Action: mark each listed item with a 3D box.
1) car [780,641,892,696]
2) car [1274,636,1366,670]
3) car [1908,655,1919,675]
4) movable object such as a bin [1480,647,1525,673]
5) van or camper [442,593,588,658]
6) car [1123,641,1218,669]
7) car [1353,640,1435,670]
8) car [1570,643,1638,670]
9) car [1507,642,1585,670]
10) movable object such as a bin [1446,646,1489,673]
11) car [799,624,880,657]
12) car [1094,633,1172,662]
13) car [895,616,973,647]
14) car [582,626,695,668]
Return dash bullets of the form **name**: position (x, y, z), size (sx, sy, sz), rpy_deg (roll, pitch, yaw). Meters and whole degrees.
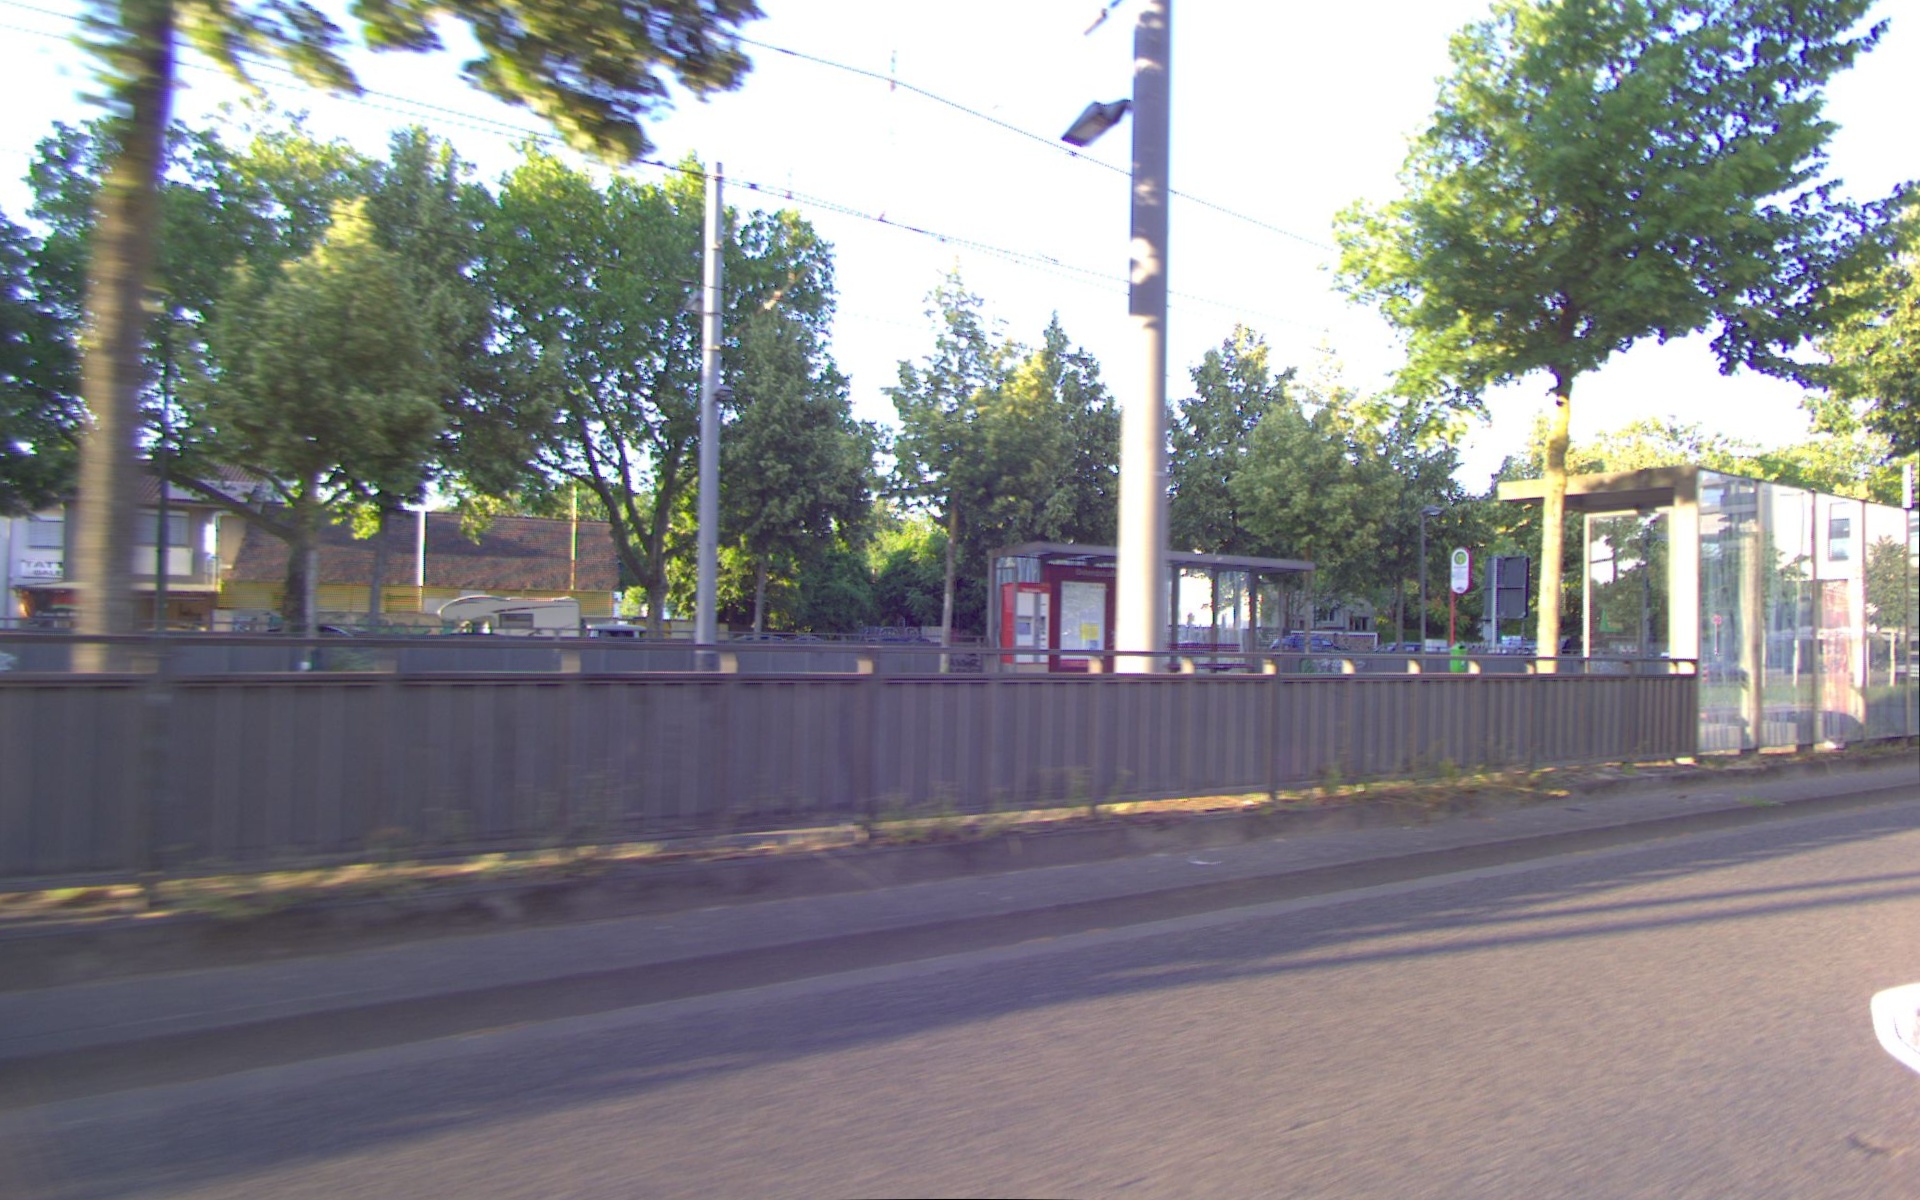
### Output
- **car**: position (-4.881, 2.663, 39.590), size (3.948, 2.040, 1.987), rpy_deg (2, -2, -27)
- **car**: position (17.999, 2.641, 50.227), size (4.243, 1.606, 1.986), rpy_deg (2, -2, -28)
- **car**: position (77.489, 5.199, 79.757), size (4.501, 1.518, 1.985), rpy_deg (3, -2, -29)
- **movable object such as a bin**: position (30.388, 3.333, 56.317), size (1.703, 1.390, 1.547), rpy_deg (2, -2, -28)
- **van or camper**: position (-19.080, 1.139, 43.316), size (5.554, 2.597, 2.386), rpy_deg (2, -2, -24)
- **car**: position (9.815, 2.558, 46.891), size (4.038, 1.216, 1.986), rpy_deg (2, -2, -28)
- **car**: position (23.064, 2.920, 53.341), size (3.950, 1.467, 1.986), rpy_deg (2, -2, -28)
- **car**: position (39.267, 3.429, 61.227), size (4.003, 1.551, 1.803), rpy_deg (2, -2, -28)
- **car**: position (34.011, 3.243, 58.301), size (4.245, 1.520, 1.986), rpy_deg (2, -2, -28)
- **movable object such as a bin**: position (27.830, 3.255, 55.107), size (1.680, 1.430, 1.403), rpy_deg (2, -2, -28)
- **car**: position (-5.925, 1.995, 49.486), size (3.594, 1.520, 1.819), rpy_deg (2, -2, -24)
- **car**: position (9.745, 2.675, 56.578), size (3.946, 1.572, 1.988), rpy_deg (2, -2, -25)
- **car**: position (-1.343, 1.628, 51.967), size (3.614, 1.467, 1.712), rpy_deg (2, -2, -29)
- **car**: position (-12.490, 1.824, 38.980), size (3.946, 1.550, 1.988), rpy_deg (2, -2, -25)
